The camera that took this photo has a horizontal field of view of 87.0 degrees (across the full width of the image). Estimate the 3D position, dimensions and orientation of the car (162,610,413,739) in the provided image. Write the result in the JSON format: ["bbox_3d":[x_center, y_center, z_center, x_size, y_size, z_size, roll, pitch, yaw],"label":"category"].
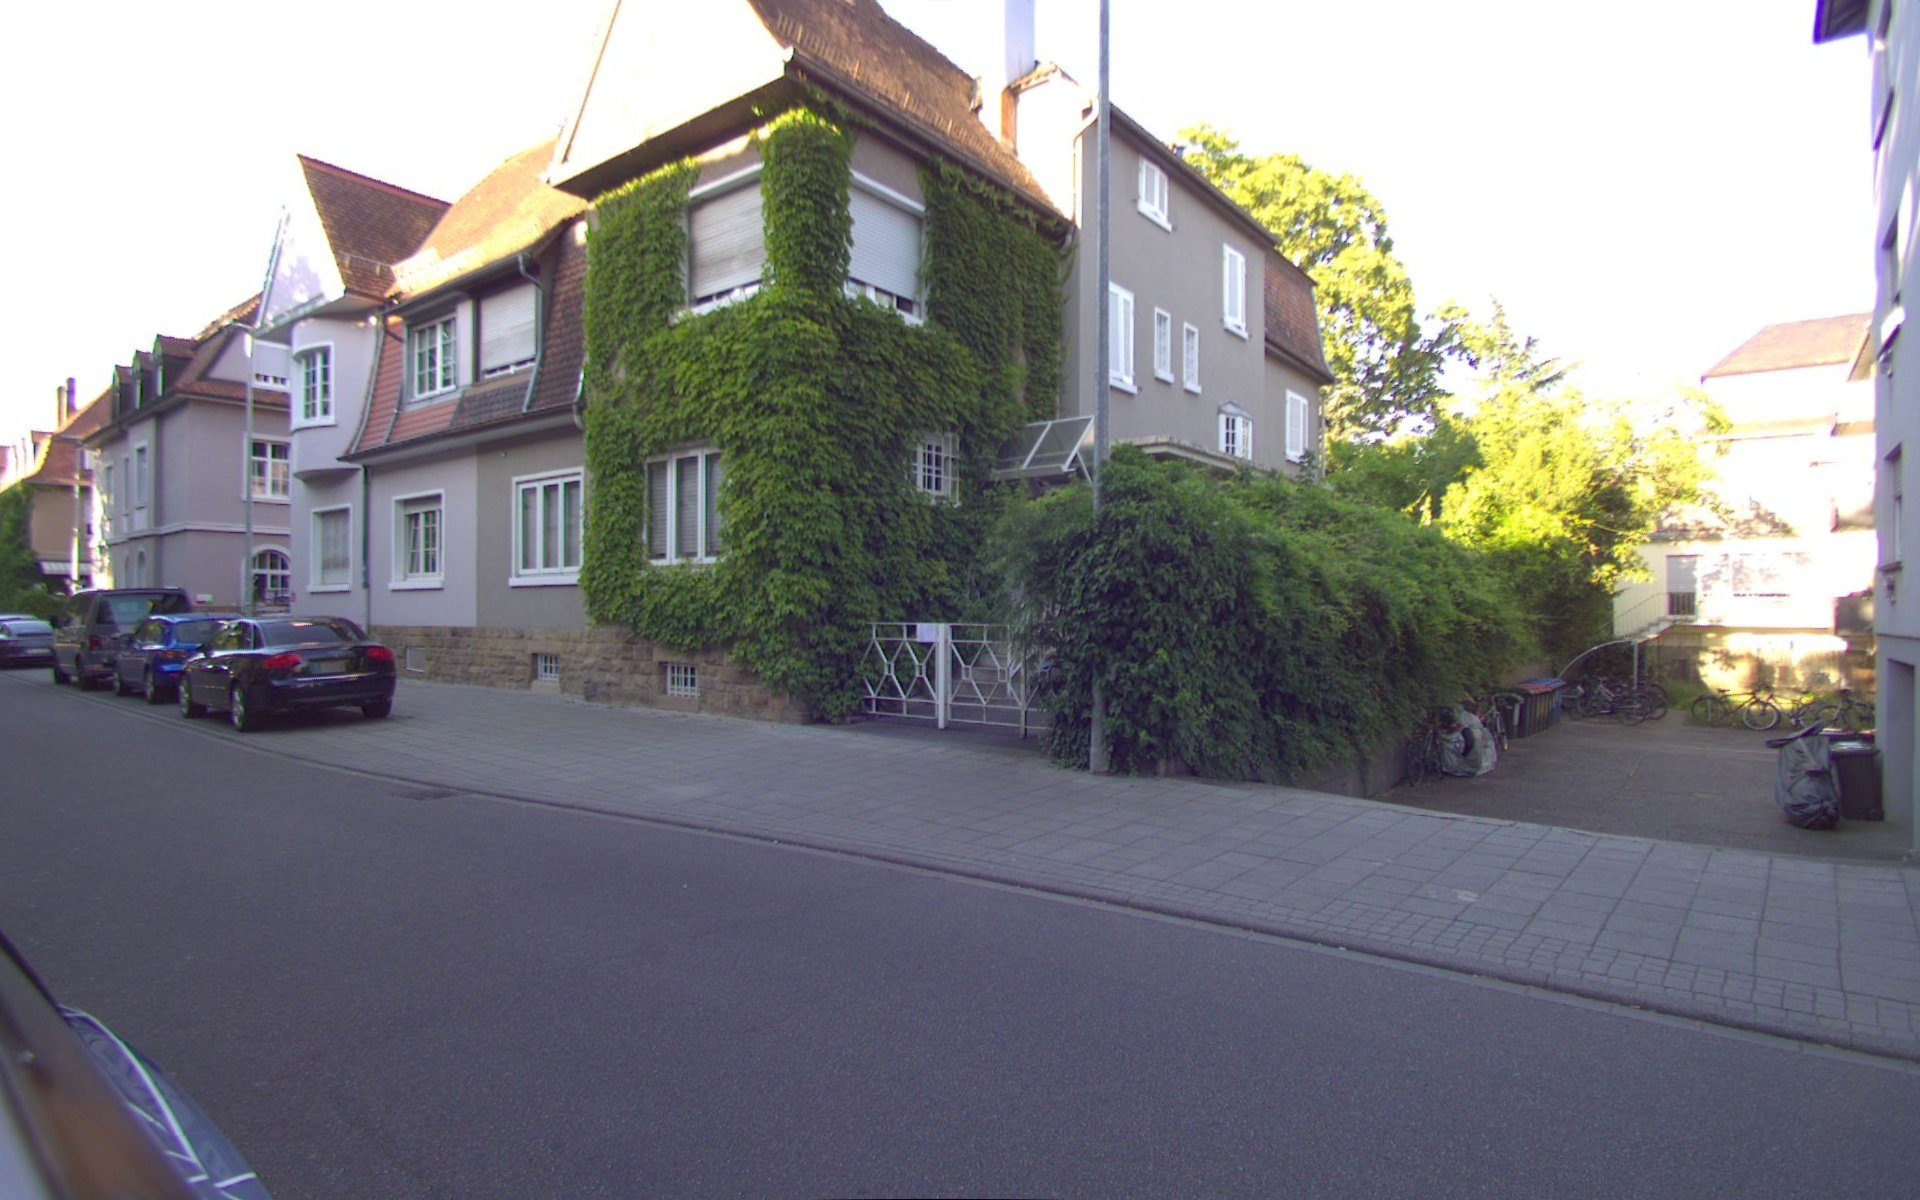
[{"bbox_3d":[-9.433,0.916,14.053,4.426,1.457,1.783,-1,1,41],"label":"car"}]

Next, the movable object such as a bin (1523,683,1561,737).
[{"bbox_3d":[12.693,2.382,22.077,0.611,1.123,0.792,-1,-4,37],"label":"movable object such as a bin"}]

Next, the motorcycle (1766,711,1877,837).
[{"bbox_3d":[10.699,2.117,12.628,0.742,1.305,1.565,-1,-2,30],"label":"motorcycle"}]

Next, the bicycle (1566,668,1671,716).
[{"bbox_3d":[18.049,2.505,27.771,2.338,1.186,0.685,-1,-4,42],"label":"bicycle"}]

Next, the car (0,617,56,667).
[{"bbox_3d":[-30.182,1.306,32.031,4.061,1.478,1.907,-1,1,42],"label":"car"}]

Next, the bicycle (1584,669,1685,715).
[{"bbox_3d":[19.191,2.603,28.833,2.338,1.186,0.685,-1,-4,42],"label":"bicycle"}]

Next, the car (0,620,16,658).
[{"bbox_3d":[-36.334,1.451,37.508,3.676,1.372,1.641,-1,1,42],"label":"car"}]

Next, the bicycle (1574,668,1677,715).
[{"bbox_3d":[18.607,2.546,28.340,2.338,1.186,0.685,-1,-4,42],"label":"bicycle"}]

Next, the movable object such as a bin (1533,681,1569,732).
[{"bbox_3d":[13.640,2.450,23.351,0.611,1.123,0.792,-1,-4,37],"label":"movable object such as a bin"}]

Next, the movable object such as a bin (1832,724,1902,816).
[{"bbox_3d":[12.290,2.277,13.731,0.611,1.123,0.792,-1,-4,37],"label":"movable object such as a bin"}]

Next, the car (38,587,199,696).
[{"bbox_3d":[-17.534,0.794,21.016,4.610,1.990,1.819,-1,1,41],"label":"car"}]

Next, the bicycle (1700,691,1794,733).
[{"bbox_3d":[18.884,2.667,24.304,1.754,0.886,0.558,-1,-4,42],"label":"bicycle"}]

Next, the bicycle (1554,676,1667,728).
[{"bbox_3d":[16.231,2.524,25.306,2.294,1.142,0.685,-1,-4,42],"label":"bicycle"}]

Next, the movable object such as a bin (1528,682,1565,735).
[{"bbox_3d":[13.169,2.417,22.720,0.611,1.123,0.792,-1,-4,37],"label":"movable object such as a bin"}]

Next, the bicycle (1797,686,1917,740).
[{"bbox_3d":[20.362,2.541,23.030,2.005,1.080,0.558,-1,-4,42],"label":"bicycle"}]

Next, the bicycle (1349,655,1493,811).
[{"bbox_3d":[6.816,1.786,14.756,0.971,1.907,4.138,-1,-3,38],"label":"bicycle"}]

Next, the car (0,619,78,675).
[{"bbox_3d":[-26.168,1.275,28.297,4.063,1.394,1.906,-1,1,44],"label":"car"}]

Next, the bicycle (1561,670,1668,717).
[{"bbox_3d":[17.497,2.480,27.119,2.338,1.142,0.685,-1,-4,42],"label":"bicycle"}]

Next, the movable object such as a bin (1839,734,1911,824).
[{"bbox_3d":[11.708,2.272,12.969,0.611,1.045,0.532,-1,-4,37],"label":"movable object such as a bin"}]

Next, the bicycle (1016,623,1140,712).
[{"bbox_3d":[1.693,0.906,14.189,0.476,1.111,2.172,-1,-1,45],"label":"bicycle"}]

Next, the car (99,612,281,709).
[{"bbox_3d":[-13.645,0.987,17.847,4.060,1.457,1.745,-1,1,41],"label":"car"}]
